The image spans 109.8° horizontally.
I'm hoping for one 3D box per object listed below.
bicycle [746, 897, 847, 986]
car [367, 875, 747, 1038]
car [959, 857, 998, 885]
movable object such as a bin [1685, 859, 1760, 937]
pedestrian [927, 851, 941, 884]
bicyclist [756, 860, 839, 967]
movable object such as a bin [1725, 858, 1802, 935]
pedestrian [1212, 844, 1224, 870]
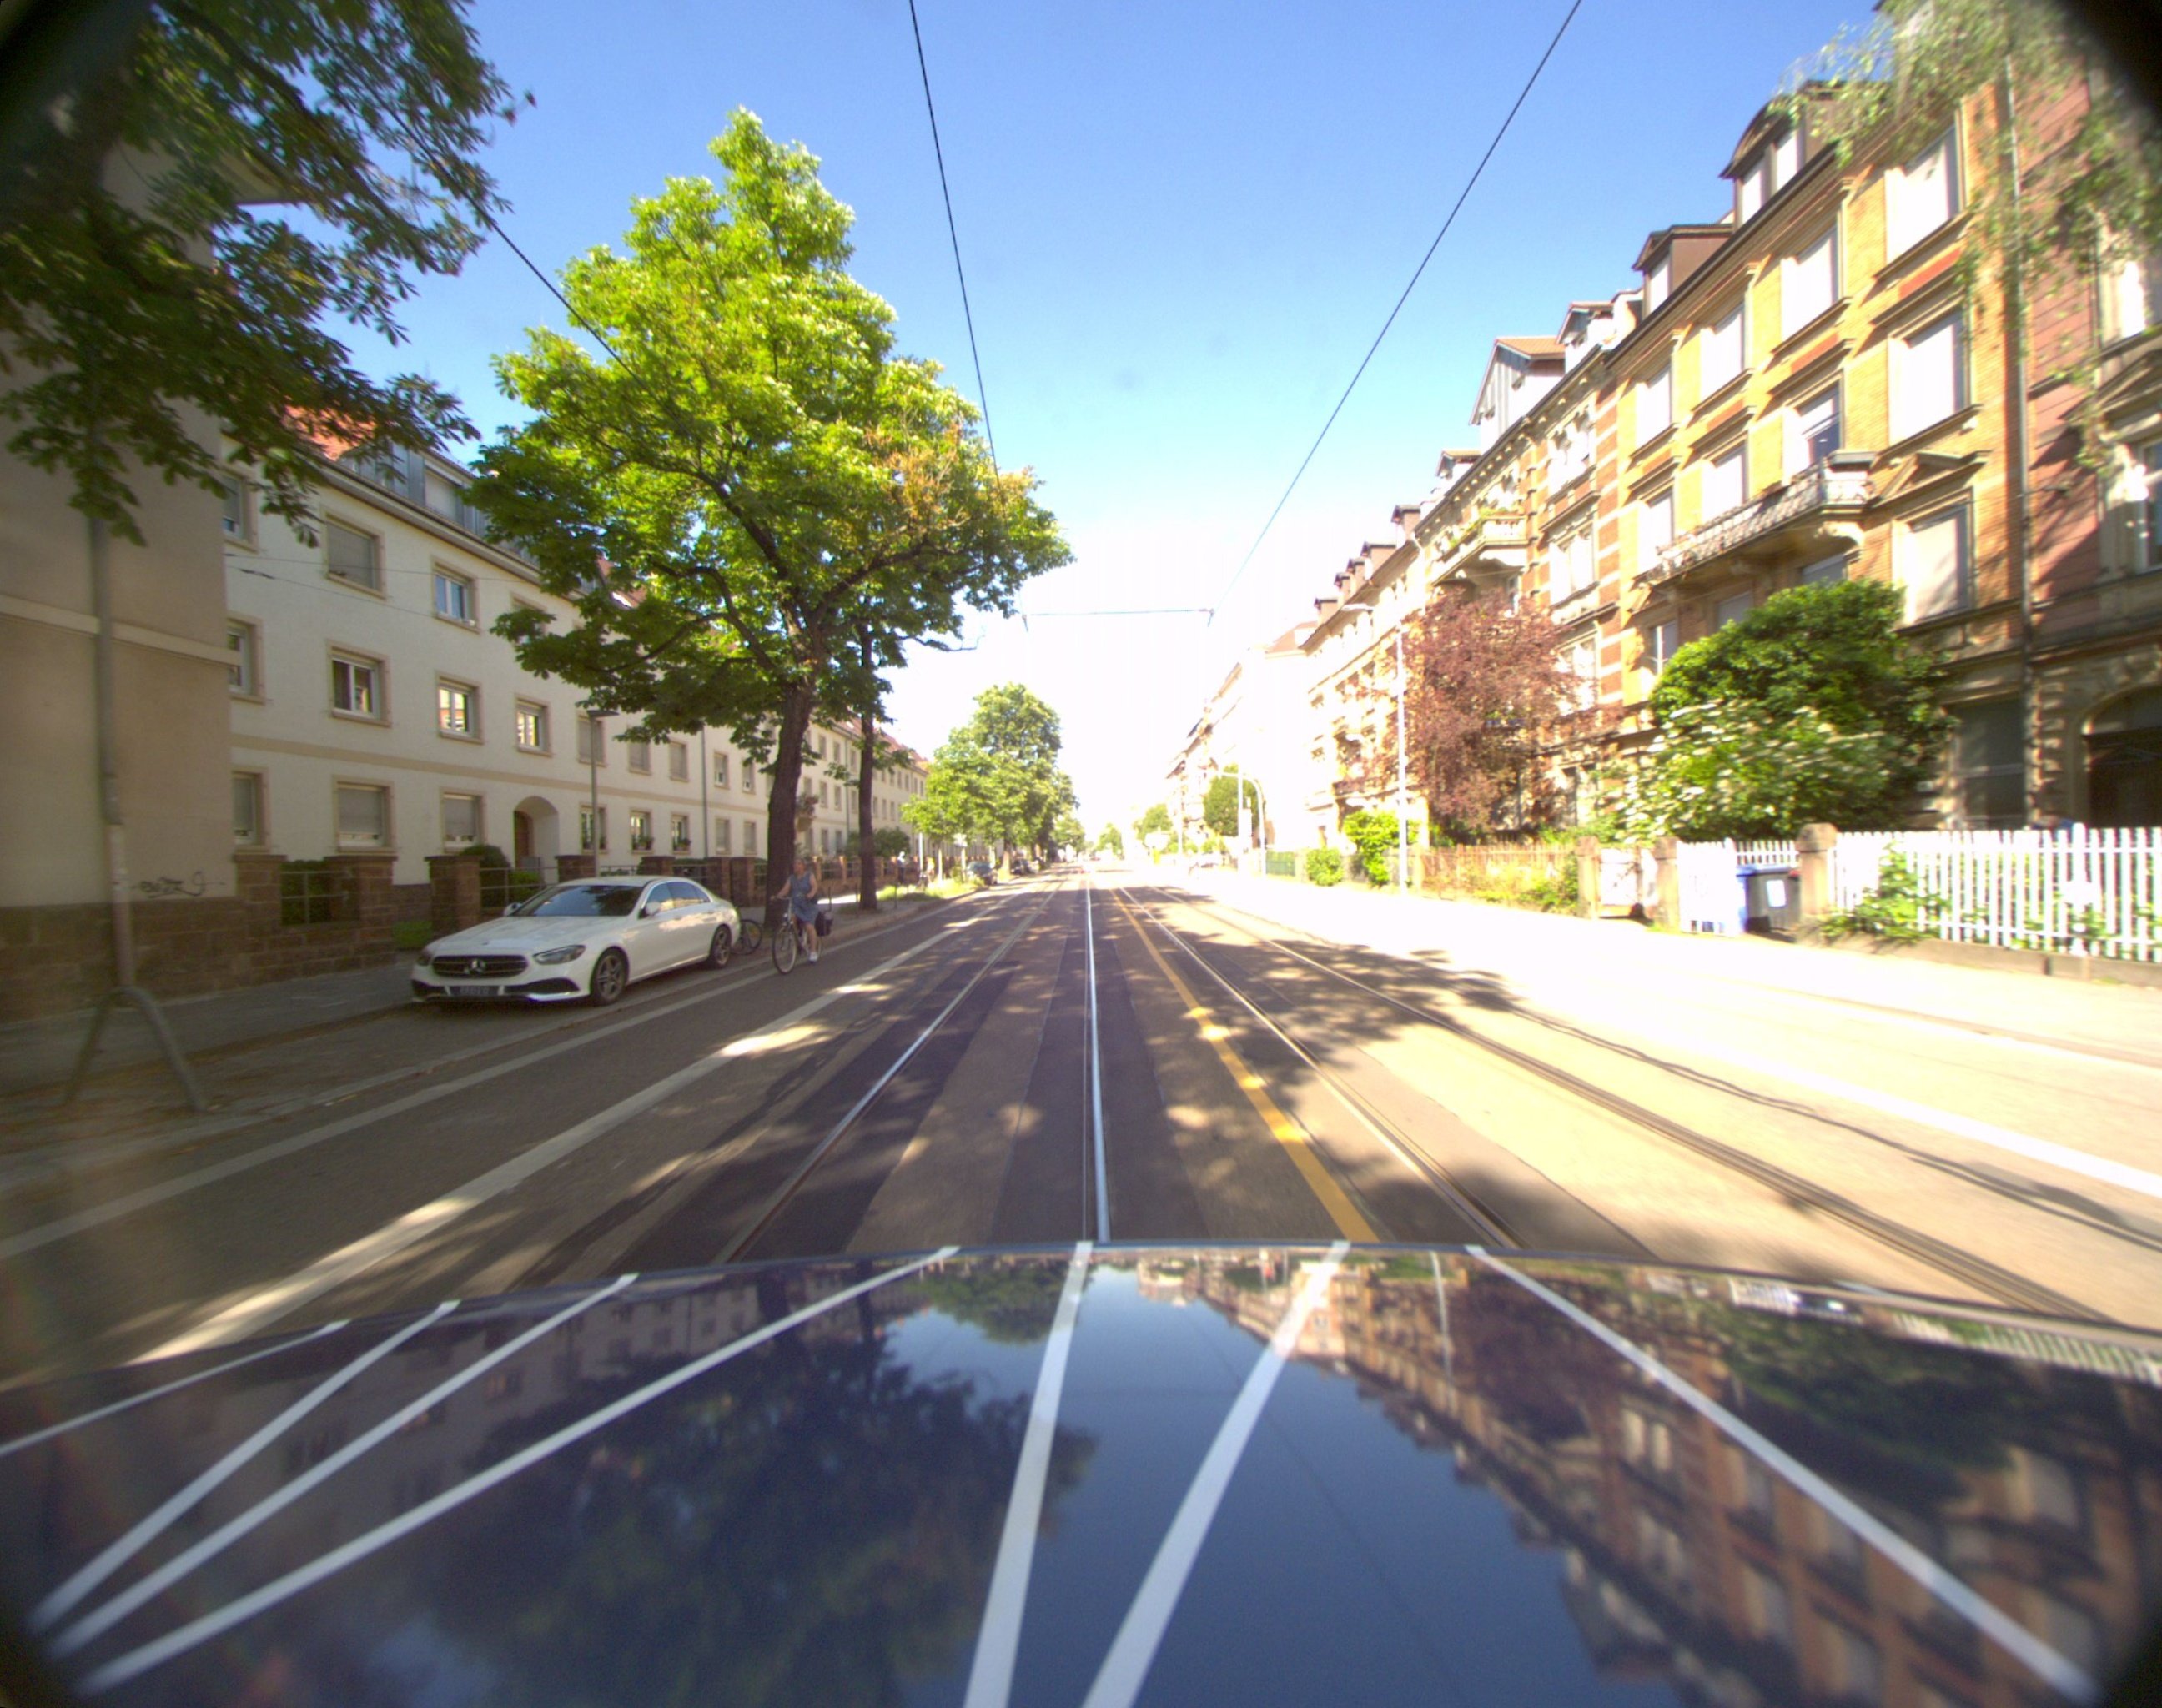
[{"bbox_3d":[-4.261,1.276,11.557,0.776,1.080,2.058,-2,0,-2],"label":"bicycle"},{"bbox_3d":[-6.308,1.096,10.029,1.824,1.475,4.748,-1,0,-2],"label":"car"},{"bbox_3d":[-5.939,0.953,44.547,1.761,1.458,4.613,-1,0,-2],"label":"car"},{"bbox_3d":[10.068,0.678,11.938,0.590,1.169,0.665,-2,1,-4],"label":"movable object such as a bin"},{"bbox_3d":[-9.179,0.851,47.322,0.743,2.002,0.687,-2,1,-7],"label":"pedestrian"},{"bbox_3d":[-4.278,0.864,11.557,0.776,1.505,1.229,-2,1,-2],"label":"bicyclist"},{"bbox_3d":[10.757,0.651,11.994,0.590,1.169,0.665,-2,1,-4],"label":"movable object such as a bin"},{"bbox_3d":[9.901,0.194,54.894,0.809,1.825,0.754,-2,1,9],"label":"pedestrian"}]
